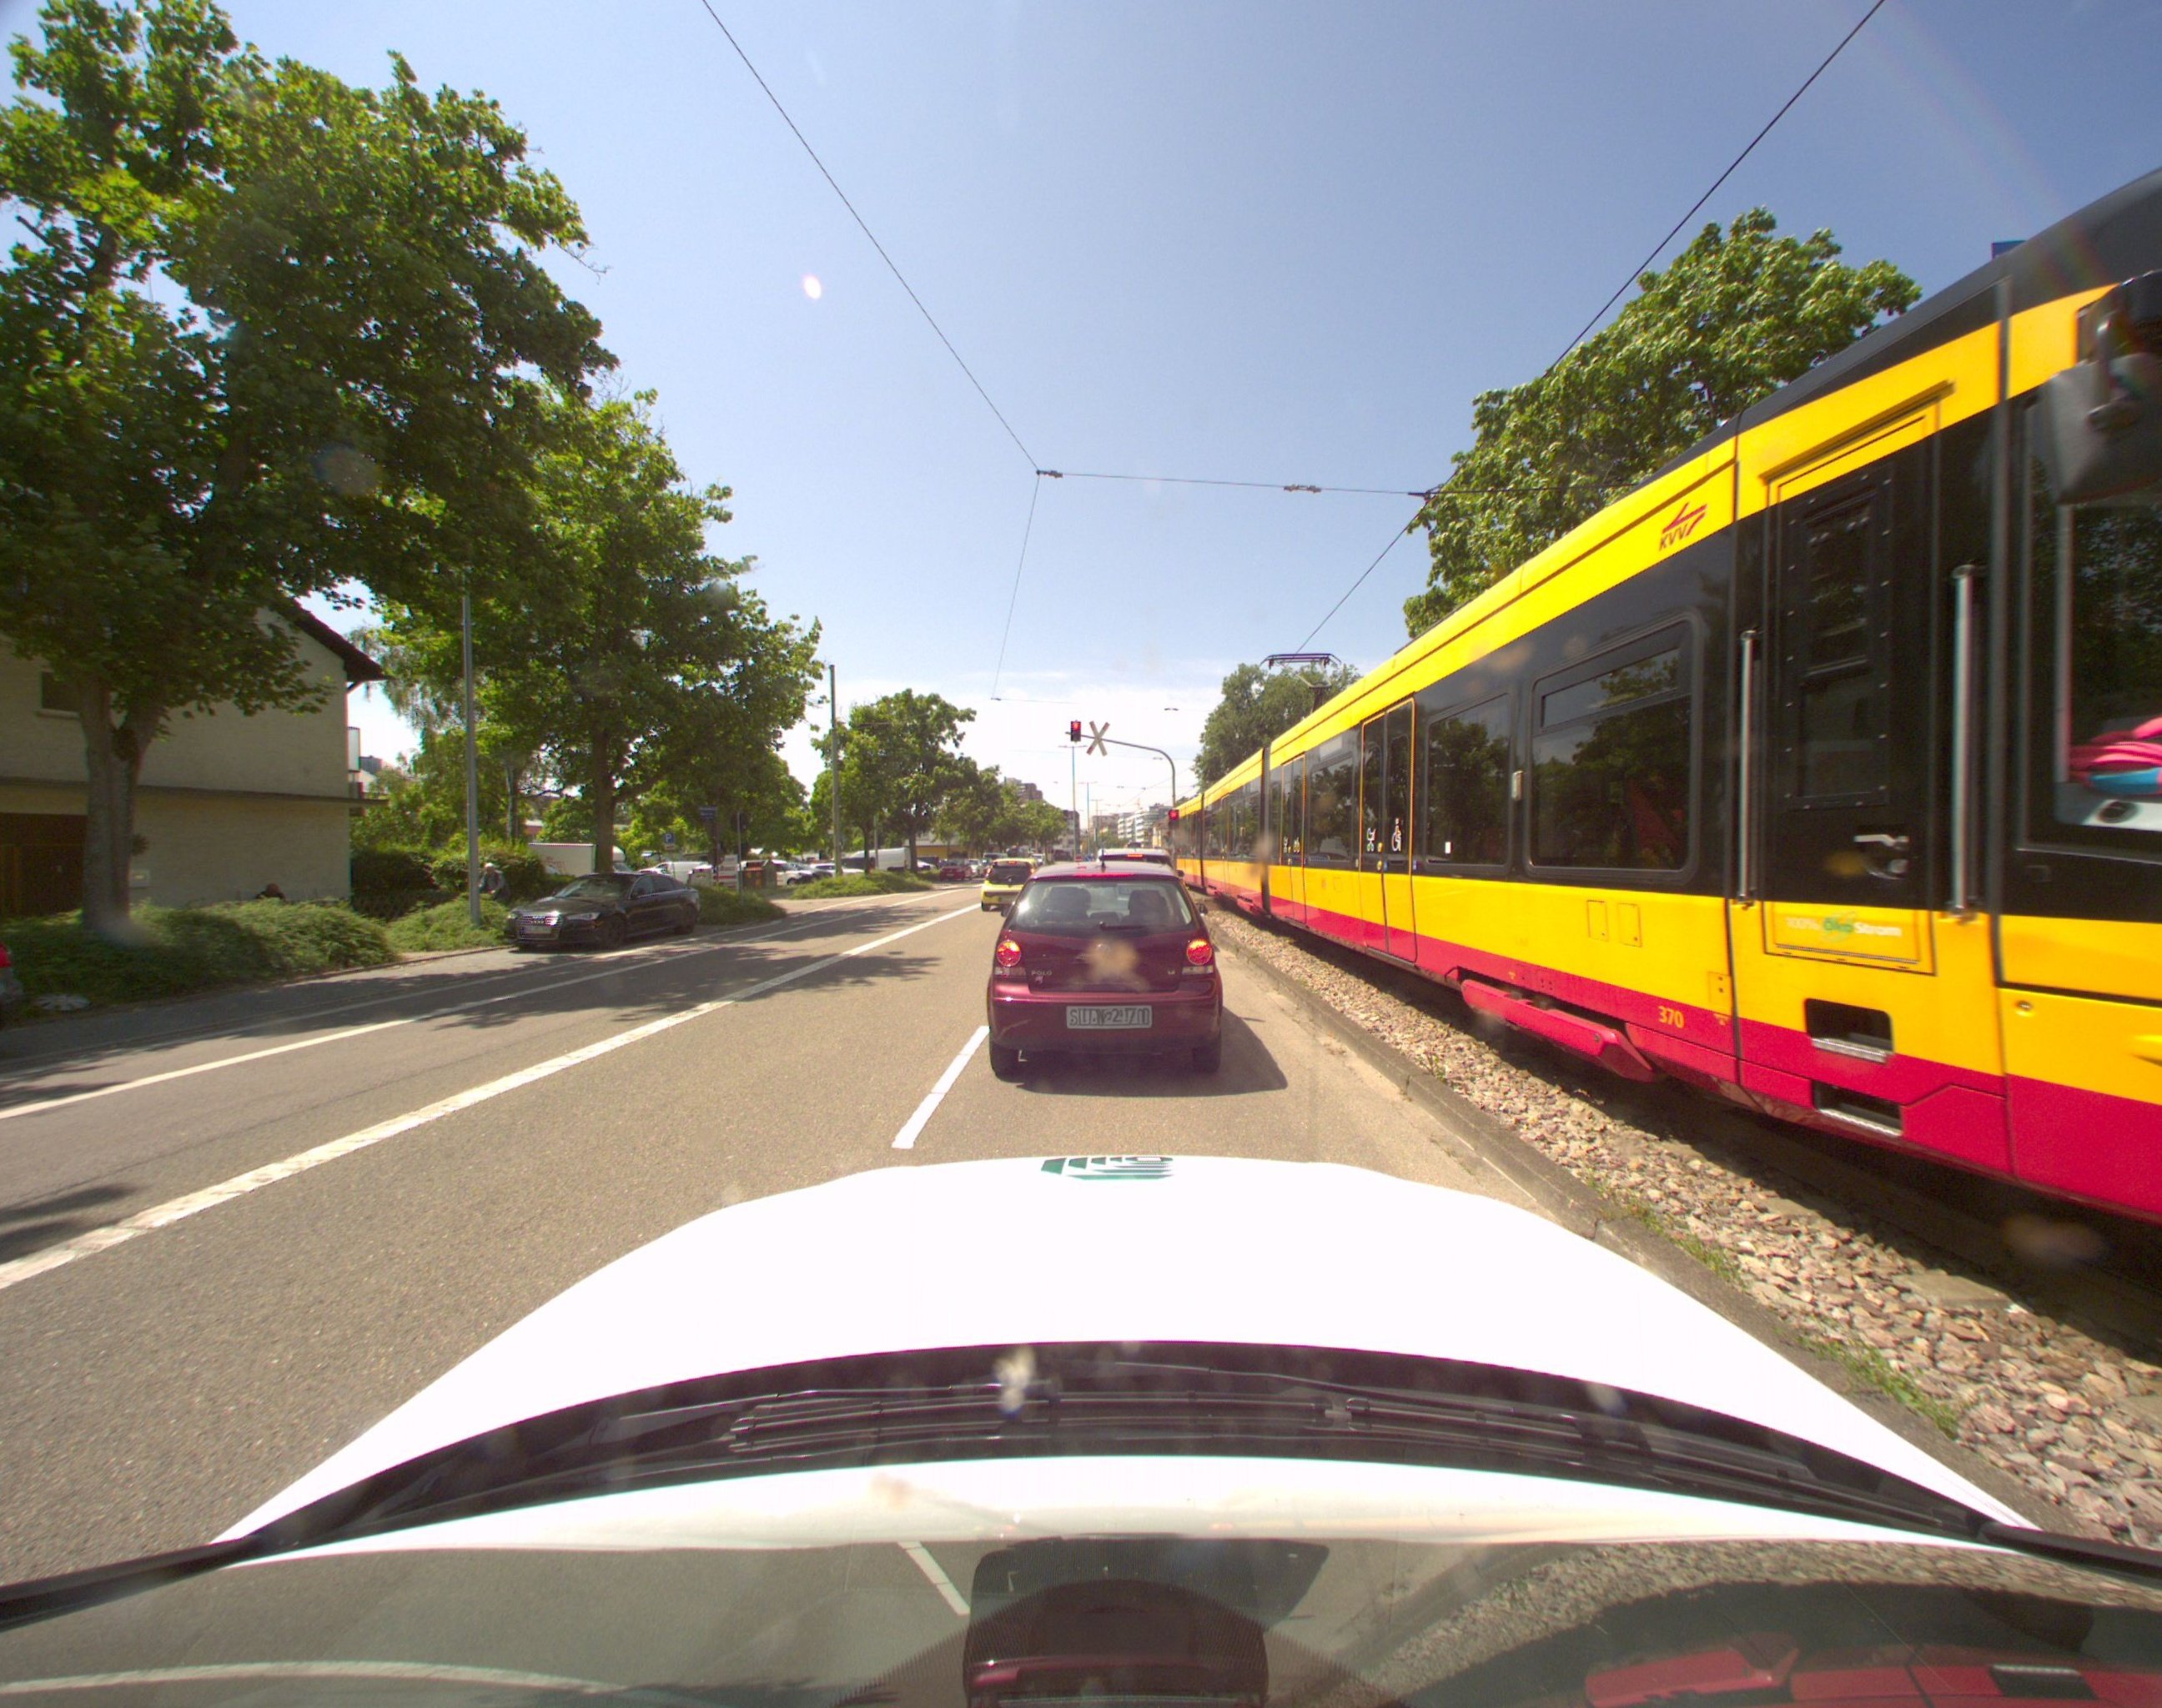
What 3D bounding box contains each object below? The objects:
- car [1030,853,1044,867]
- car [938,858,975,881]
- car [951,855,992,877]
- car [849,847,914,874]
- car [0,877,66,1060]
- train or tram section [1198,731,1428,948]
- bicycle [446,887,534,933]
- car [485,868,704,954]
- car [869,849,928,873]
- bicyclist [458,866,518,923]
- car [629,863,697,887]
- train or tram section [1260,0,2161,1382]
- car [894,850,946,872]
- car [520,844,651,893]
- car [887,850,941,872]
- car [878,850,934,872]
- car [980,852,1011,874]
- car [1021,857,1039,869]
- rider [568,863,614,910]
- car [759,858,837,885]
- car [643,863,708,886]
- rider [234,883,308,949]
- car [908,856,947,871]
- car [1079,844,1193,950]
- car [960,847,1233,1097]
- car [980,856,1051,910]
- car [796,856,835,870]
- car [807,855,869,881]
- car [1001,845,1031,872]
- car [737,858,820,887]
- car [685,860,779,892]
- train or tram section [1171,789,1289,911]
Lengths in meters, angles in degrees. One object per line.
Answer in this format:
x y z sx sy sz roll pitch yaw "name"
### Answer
-5.875 0.842 107.858 1.771 1.828 3.995 1 -1 -3 "car"
-8.330 1.035 54.762 1.655 1.497 4.004 1 -1 4 "car"
-8.221 0.908 61.315 1.965 1.601 4.566 0 -1 6 "car"
-17.472 0.556 71.540 5.076 2.244 2.380 1 -1 3 "car"
-10.253 0.995 5.365 1.812 1.564 4.182 0 0 1 "car"
4.662 -0.267 19.106 2.730 3.609 10.957 1 0 2 "train or tram section"
-14.635 1.374 20.228 0.697 1.030 1.831 0 -1 5 "bicycle"
-9.867 1.067 17.021 1.812 1.476 4.450 0 0 1 "car"
-17.825 0.677 79.694 5.076 2.244 2.380 1 -1 3 "car"
-14.649 0.986 20.142 0.805 1.374 0.829 0 -1 5 "bicyclist"
-30.416 1.512 59.352 3.982 1.653 1.812 1 -1 -7 "car"
4.155 -0.576 7.450 2.730 3.609 12.878 1 0 2 "train or tram section"
-17.364 0.781 87.985 5.076 2.244 2.380 1 -1 3 "car"
-31.443 0.925 51.820 6.828 2.965 2.364 1 -1 0 "car"
-17.502 0.748 85.351 5.076 2.244 2.380 1 -1 3 "car"
-17.728 0.716 82.881 5.076 2.244 2.380 1 -1 3 "car"
-7.447 0.801 71.544 1.774 1.881 4.791 1 -1 5 "car"
-6.407 1.076 101.716 1.606 1.441 4.006 0 -1 5 "car"
-14.681 0.949 24.427 0.805 1.360 0.829 1 0 5 "rider"
-18.413 1.102 53.072 4.319 1.585 1.917 -2 0 8 "car"
-30.684 1.538 61.769 3.982 1.653 1.812 1 -1 -7 "car"
-17.974 1.358 18.082 0.820 1.374 0.814 -2 0 10 "rider"
-17.399 1.037 92.351 4.004 1.617 1.818 1 -1 3 "car"
0.902 0.670 14.753 1.770 1.647 4.001 0 0 1 "car"
0.137 0.726 7.022 1.666 1.521 4.001 1 0 1 "car"
-1.825 0.786 23.490 1.684 1.411 3.516 0 0 1 "car"
-31.571 1.050 96.937 4.006 1.617 1.816 1 -1 0 "car"
-18.179 1.025 61.106 3.973 1.746 1.998 -2 0 0 "car"
-6.693 0.479 84.581 2.352 2.692 5.311 1 -1 3 "car"
-18.634 1.113 50.222 4.319 1.585 1.917 -2 0 7 "car"
-19.353 1.200 45.279 4.329 1.585 1.912 -2 0 -1 "car"
5.043 -0.136 29.676 2.730 3.609 10.957 1 0 2 "train or tram section"
